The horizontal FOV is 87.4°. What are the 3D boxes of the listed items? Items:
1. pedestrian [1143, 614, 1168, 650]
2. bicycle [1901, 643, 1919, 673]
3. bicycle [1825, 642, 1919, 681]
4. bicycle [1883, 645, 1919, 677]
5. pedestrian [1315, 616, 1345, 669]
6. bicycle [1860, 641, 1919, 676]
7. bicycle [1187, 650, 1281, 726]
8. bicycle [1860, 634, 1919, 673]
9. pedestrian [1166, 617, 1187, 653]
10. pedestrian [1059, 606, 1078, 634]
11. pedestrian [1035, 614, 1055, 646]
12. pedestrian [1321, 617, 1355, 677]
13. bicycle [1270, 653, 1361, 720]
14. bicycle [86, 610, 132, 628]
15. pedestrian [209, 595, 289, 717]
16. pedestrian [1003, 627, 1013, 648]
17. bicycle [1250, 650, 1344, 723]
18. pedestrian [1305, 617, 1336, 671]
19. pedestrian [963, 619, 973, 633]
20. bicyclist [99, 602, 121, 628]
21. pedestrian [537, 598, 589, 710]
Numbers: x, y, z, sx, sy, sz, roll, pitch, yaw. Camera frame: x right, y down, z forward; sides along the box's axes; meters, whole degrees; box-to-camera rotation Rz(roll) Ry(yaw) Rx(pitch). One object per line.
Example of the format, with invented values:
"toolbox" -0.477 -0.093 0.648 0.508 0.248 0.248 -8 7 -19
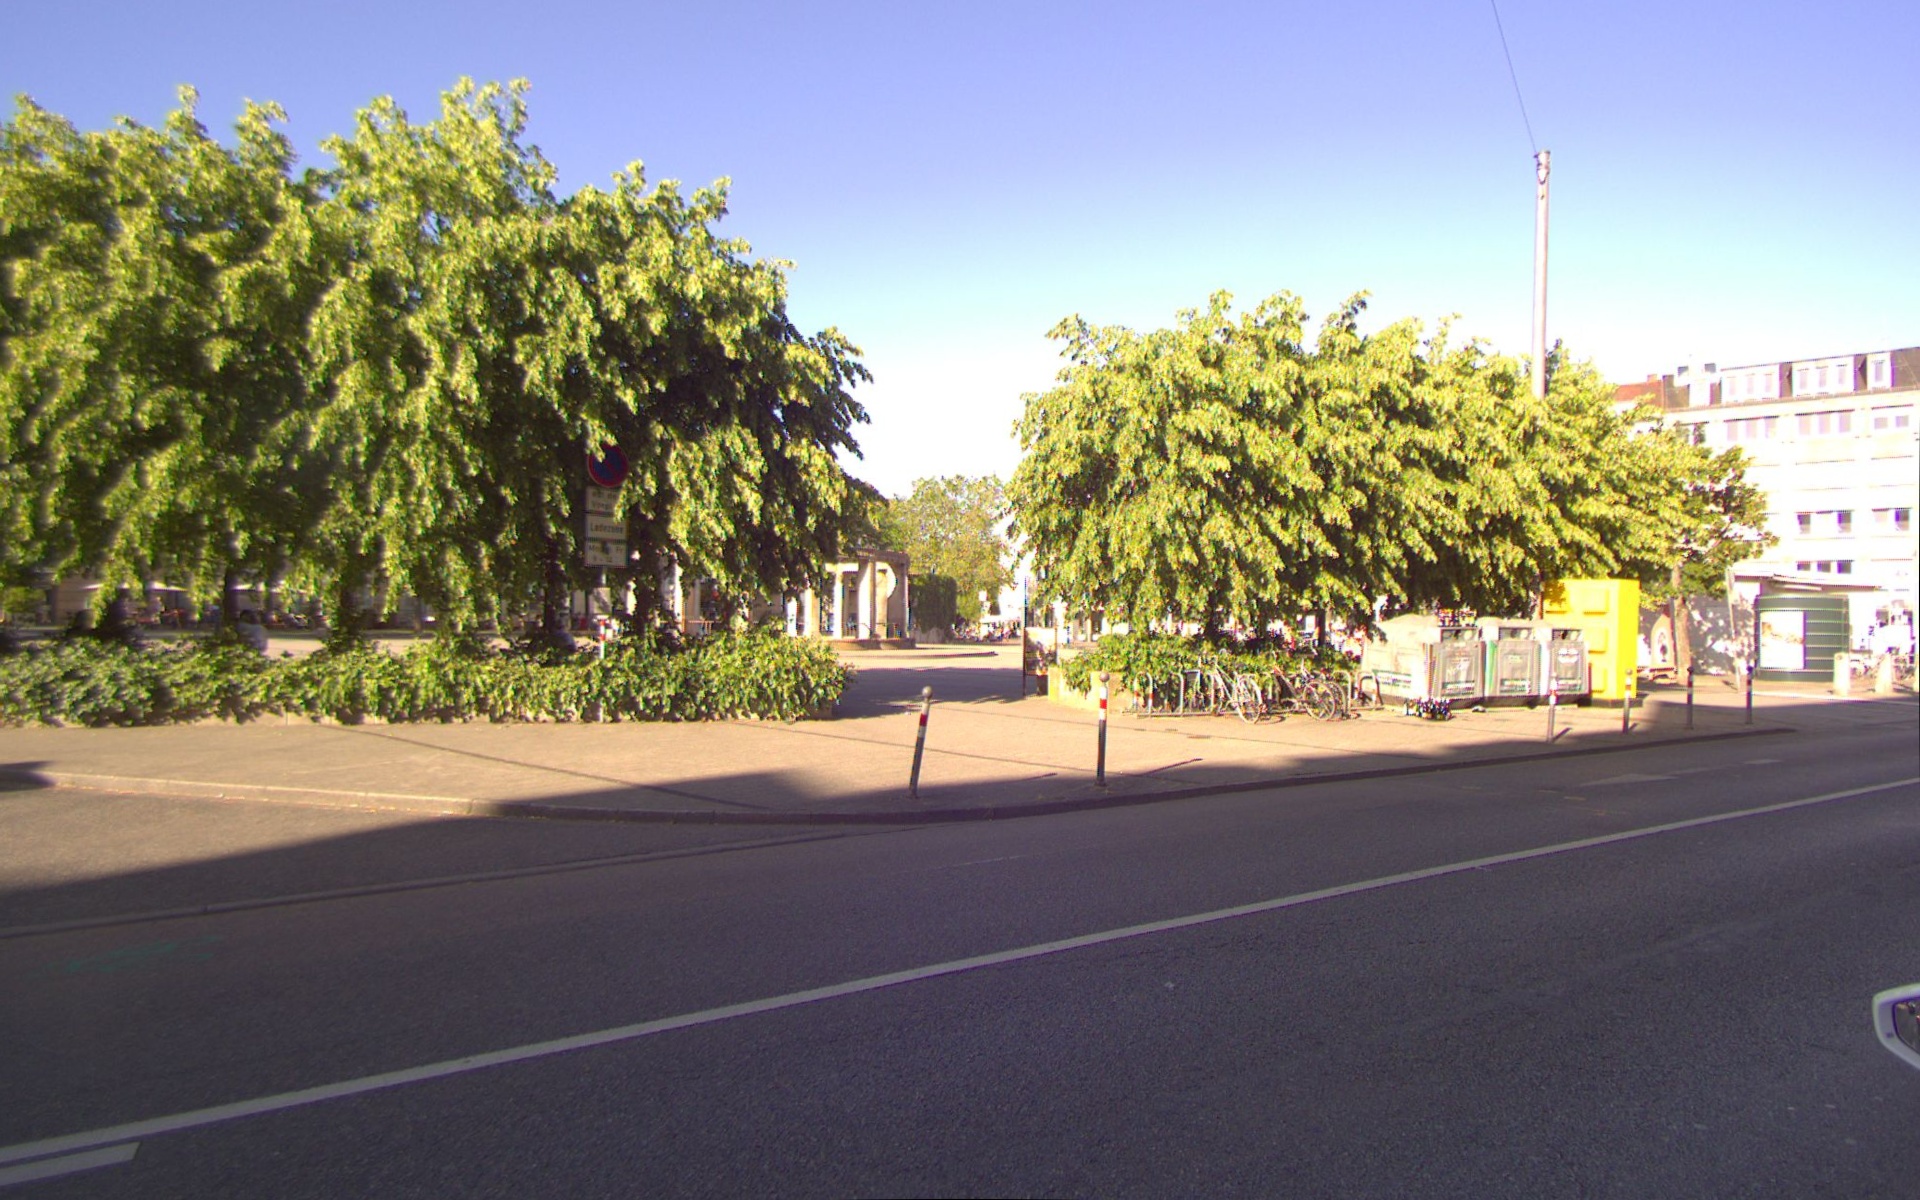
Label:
"pedestrian" 11.255 1.833 57.827 0.890 2.040 1.280 1 -1 -18
"bicycle" 38.670 2.316 39.504 0.834 1.171 2.308 1 -1 -34
"bicycle" 30.897 2.058 33.864 0.833 1.171 2.493 1 -1 -31
"bicycle" 36.746 2.329 38.025 0.834 1.171 2.517 1 -1 -34
"pedestrian" 14.484 1.638 39.309 0.886 2.040 0.993 1 0 7
"bicycle" 33.113 2.039 35.029 0.833 1.171 2.449 1 -1 -31
"bicycle" 4.211 1.327 15.540 0.425 1.031 1.590 1 0 -28
"bicycle" 34.473 1.945 36.518 0.913 1.341 2.461 1 -1 -35
"pedestrian" 12.570 2.033 58.409 0.887 2.040 1.220 1 -1 -4
"pedestrian" 7.994 1.479 73.921 0.890 2.040 1.398 1 0 -17
"pedestrian" 5.590 1.973 66.072 0.894 2.040 0.984 1 0 -31
"pedestrian" 13.240 1.627 35.243 0.886 2.040 0.993 1 0 7
"bicycle" 5.795 1.390 16.450 0.425 0.971 1.518 0 0 -28
"bicycle" -48.182 1.079 56.892 0.578 0.966 1.906 1 -1 23
"pedestrian" -10.758 0.835 15.230 0.725 1.781 0.895 1 -1 -19
"pedestrian" 4.839 3.800 101.718 0.887 2.040 1.284 1 -1 -4
"bicycle" 5.379 1.360 16.123 0.425 1.036 1.561 1 -1 -28
"pedestrian" 13.766 1.659 38.408 0.886 2.040 0.993 1 0 7
"pedestrian" 1.147 3.654 141.388 1.229 1.936 1.237 1 0 -7
"bicyclist" -48.158 0.839 56.903 0.661 1.447 0.698 1 0 26
"pedestrian" -6.532 0.869 16.559 0.725 1.781 0.895 1 -1 -19
